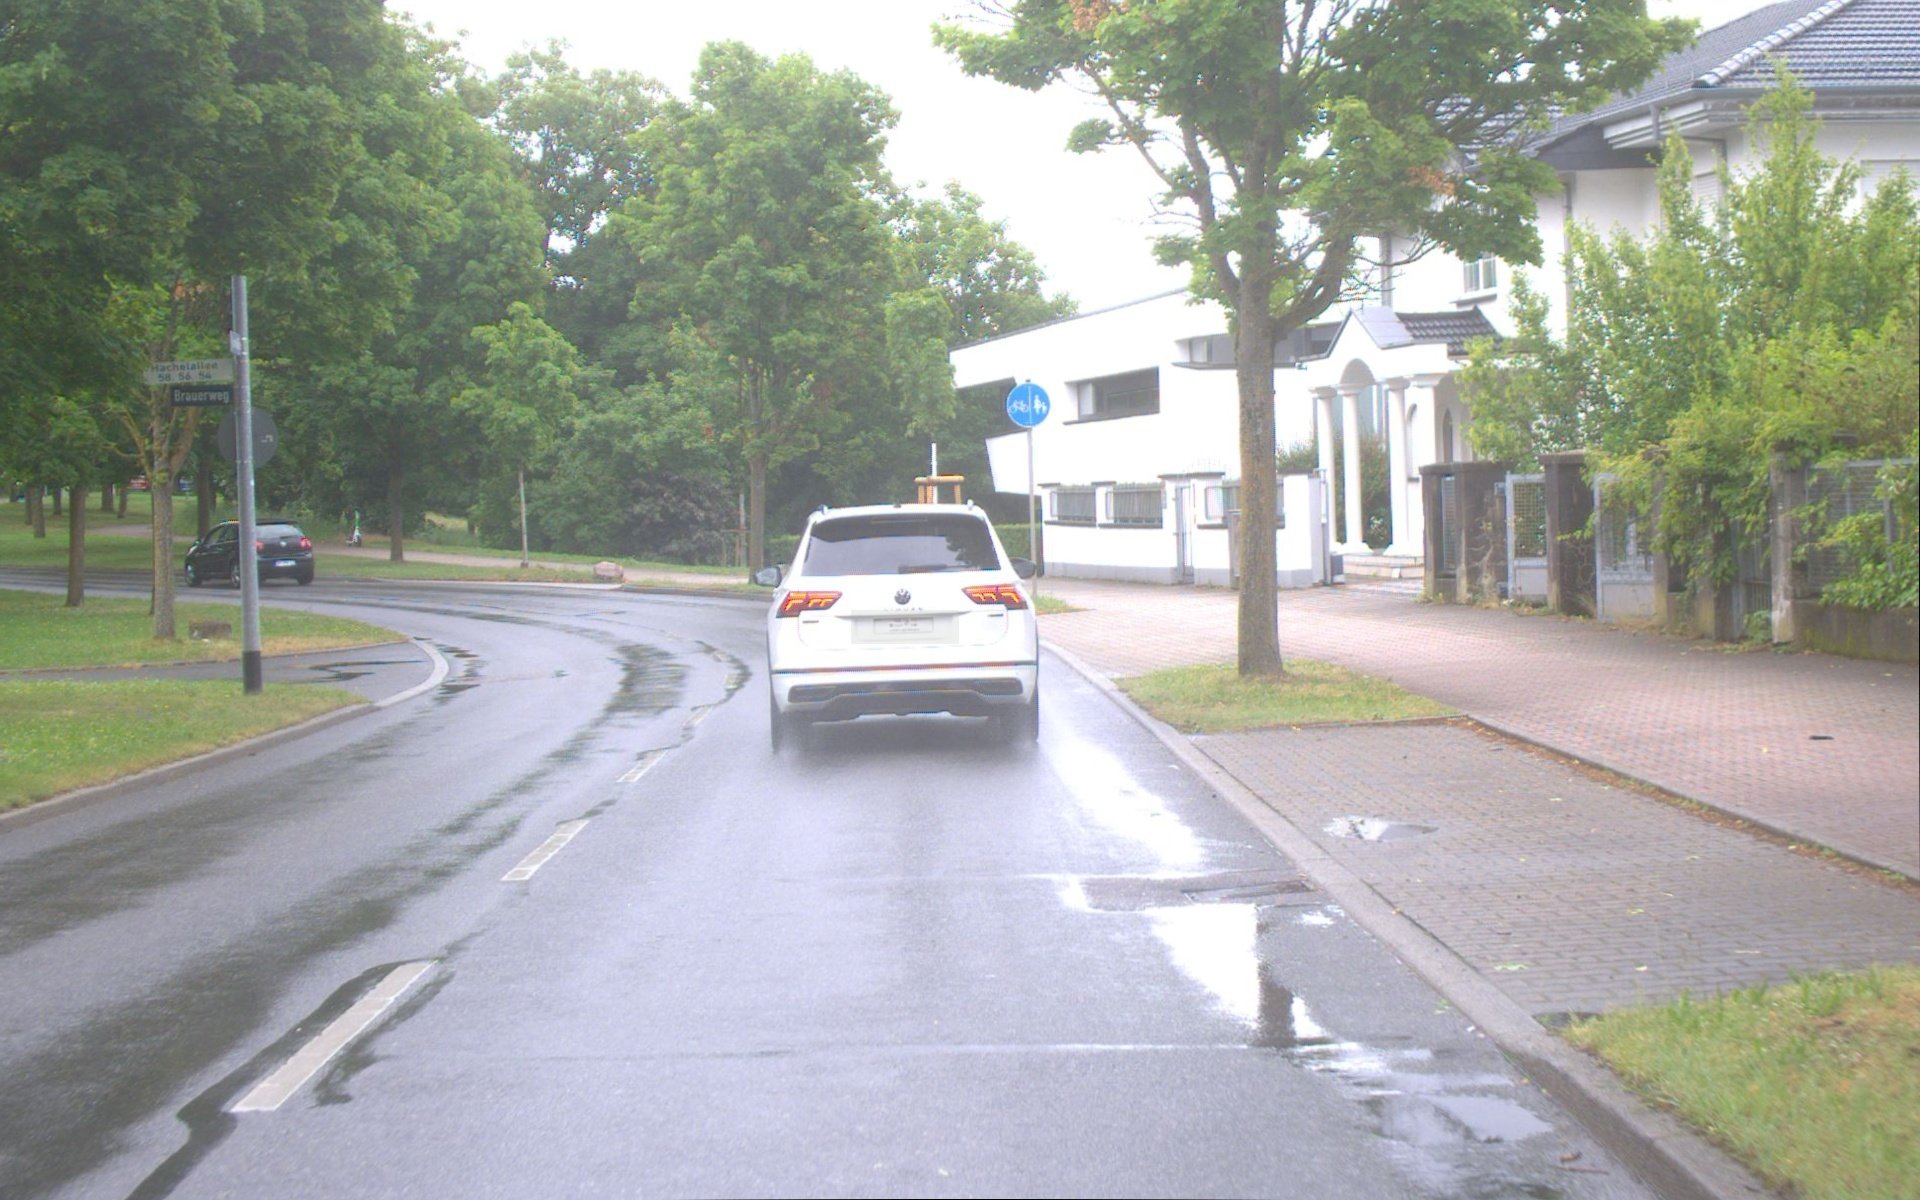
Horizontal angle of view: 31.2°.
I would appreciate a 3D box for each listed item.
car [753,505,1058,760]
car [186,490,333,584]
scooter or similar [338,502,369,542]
[{"bbox_3d":[-0.356,0.156,24.404,1.974,1.647,4.177,0,1,0],"label":"car"},{"bbox_3d":[-15.477,-1.383,75.815,1.901,2.007,3.944,0,1,-32],"label":"car"},{"bbox_3d":[-17.809,-2.297,100.921,0.463,1.142,1.301,-4,4,-27],"label":"scooter or similar"}]
